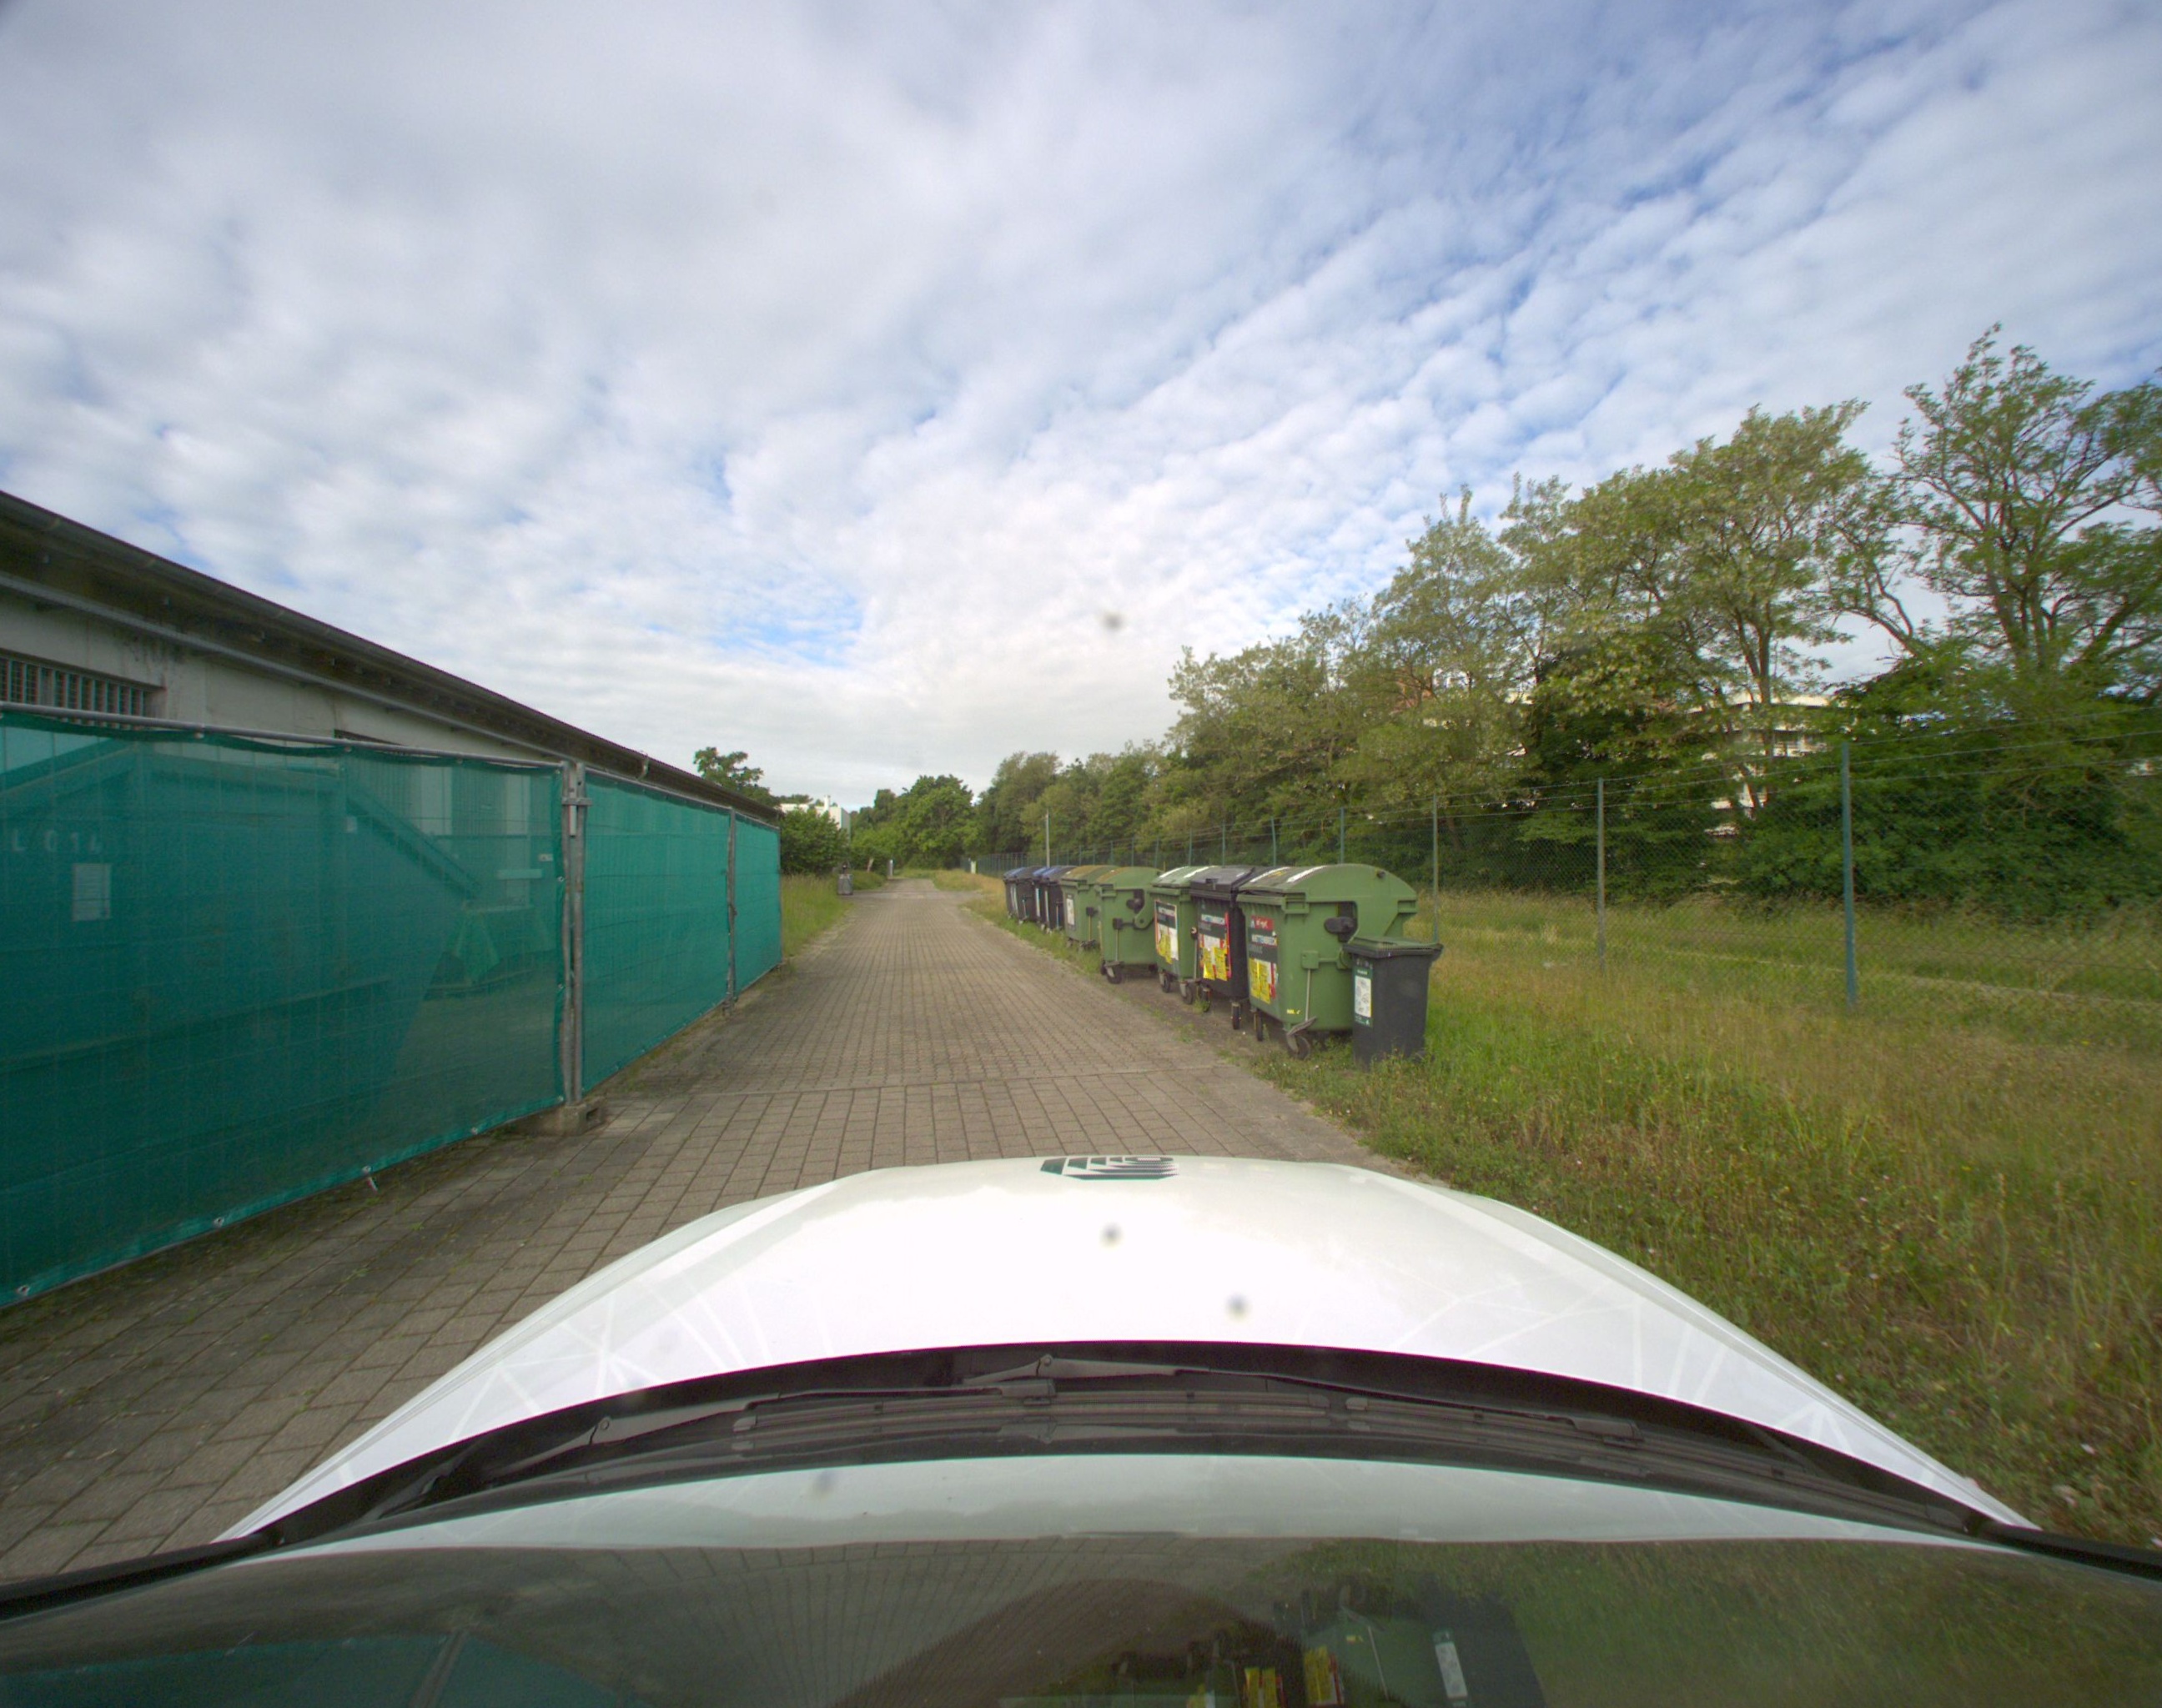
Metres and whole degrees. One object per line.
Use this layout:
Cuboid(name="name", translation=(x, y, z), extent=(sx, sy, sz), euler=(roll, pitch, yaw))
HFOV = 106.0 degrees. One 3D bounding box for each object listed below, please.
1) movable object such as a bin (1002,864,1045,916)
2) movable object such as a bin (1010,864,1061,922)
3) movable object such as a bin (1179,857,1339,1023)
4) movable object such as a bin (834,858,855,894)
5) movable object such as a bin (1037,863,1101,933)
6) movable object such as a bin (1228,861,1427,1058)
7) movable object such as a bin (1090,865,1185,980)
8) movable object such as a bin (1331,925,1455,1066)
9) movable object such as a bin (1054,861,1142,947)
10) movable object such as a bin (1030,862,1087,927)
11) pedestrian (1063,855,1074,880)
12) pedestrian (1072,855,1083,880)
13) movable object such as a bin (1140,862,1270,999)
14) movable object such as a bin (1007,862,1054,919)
Cuboid(name="movable object such as a bin", translation=(-1.566, 0.950, 21.988), extent=(1.121, 1.351, 1.422), euler=(0, -2, -7))
Cuboid(name="movable object such as a bin", translation=(-1.097, 0.894, 19.276), extent=(1.121, 1.321, 1.322), euler=(-1, -1, -7))
Cuboid(name="movable object such as a bin", translation=(1.656, 0.762, 7.847), extent=(1.069, 1.435, 1.393), euler=(0, -2, -9))
Cuboid(name="movable object such as a bin", translation=(-13.080, 1.195, 45.002), extent=(0.933, 1.982, 0.852), euler=(-1, -1, -4))
Cuboid(name="movable object such as a bin", translation=(-0.272, 0.855, 16.312), extent=(1.153, 1.325, 1.490), euler=(0, -2, -7))
Cuboid(name="movable object such as a bin", translation=(1.892, 0.765, 6.515), extent=(1.126, 1.395, 1.354), euler=(0, -2, -4))
Cuboid(name="movable object such as a bin", translation=(0.695, 0.845, 10.610), extent=(1.120, 1.398, 1.384), euler=(0, -2, -2))
Cuboid(name="movable object such as a bin", translation=(2.112, 0.938, 5.568), extent=(0.598, 0.866, 0.585), euler=(0, -2, -4))
Cuboid(name="movable object such as a bin", translation=(0.248, 0.781, 13.159), extent=(1.124, 1.296, 1.373), euler=(0, -2, -13))
Cuboid(name="movable object such as a bin", translation=(-0.520, 0.870, 17.871), extent=(1.121, 1.374, 1.490), euler=(0, -2, -7))
Cuboid(name="pedestrian", translation=(-1.036, 1.120, 67.603), extent=(0.760, 2.014, 0.661), euler=(0, -1, -14))
Cuboid(name="pedestrian", translation=(-0.265, 1.109, 67.829), extent=(0.760, 2.014, 0.661), euler=(0, -1, -14))
Cuboid(name="movable object such as a bin", translation=(1.342, 0.806, 9.136), extent=(1.069, 1.406, 1.380), euler=(0, -2, -10))
Cuboid(name="movable object such as a bin", translation=(-1.285, 0.907, 20.562), extent=(1.121, 1.379, 1.322), euler=(0, -2, -7))
